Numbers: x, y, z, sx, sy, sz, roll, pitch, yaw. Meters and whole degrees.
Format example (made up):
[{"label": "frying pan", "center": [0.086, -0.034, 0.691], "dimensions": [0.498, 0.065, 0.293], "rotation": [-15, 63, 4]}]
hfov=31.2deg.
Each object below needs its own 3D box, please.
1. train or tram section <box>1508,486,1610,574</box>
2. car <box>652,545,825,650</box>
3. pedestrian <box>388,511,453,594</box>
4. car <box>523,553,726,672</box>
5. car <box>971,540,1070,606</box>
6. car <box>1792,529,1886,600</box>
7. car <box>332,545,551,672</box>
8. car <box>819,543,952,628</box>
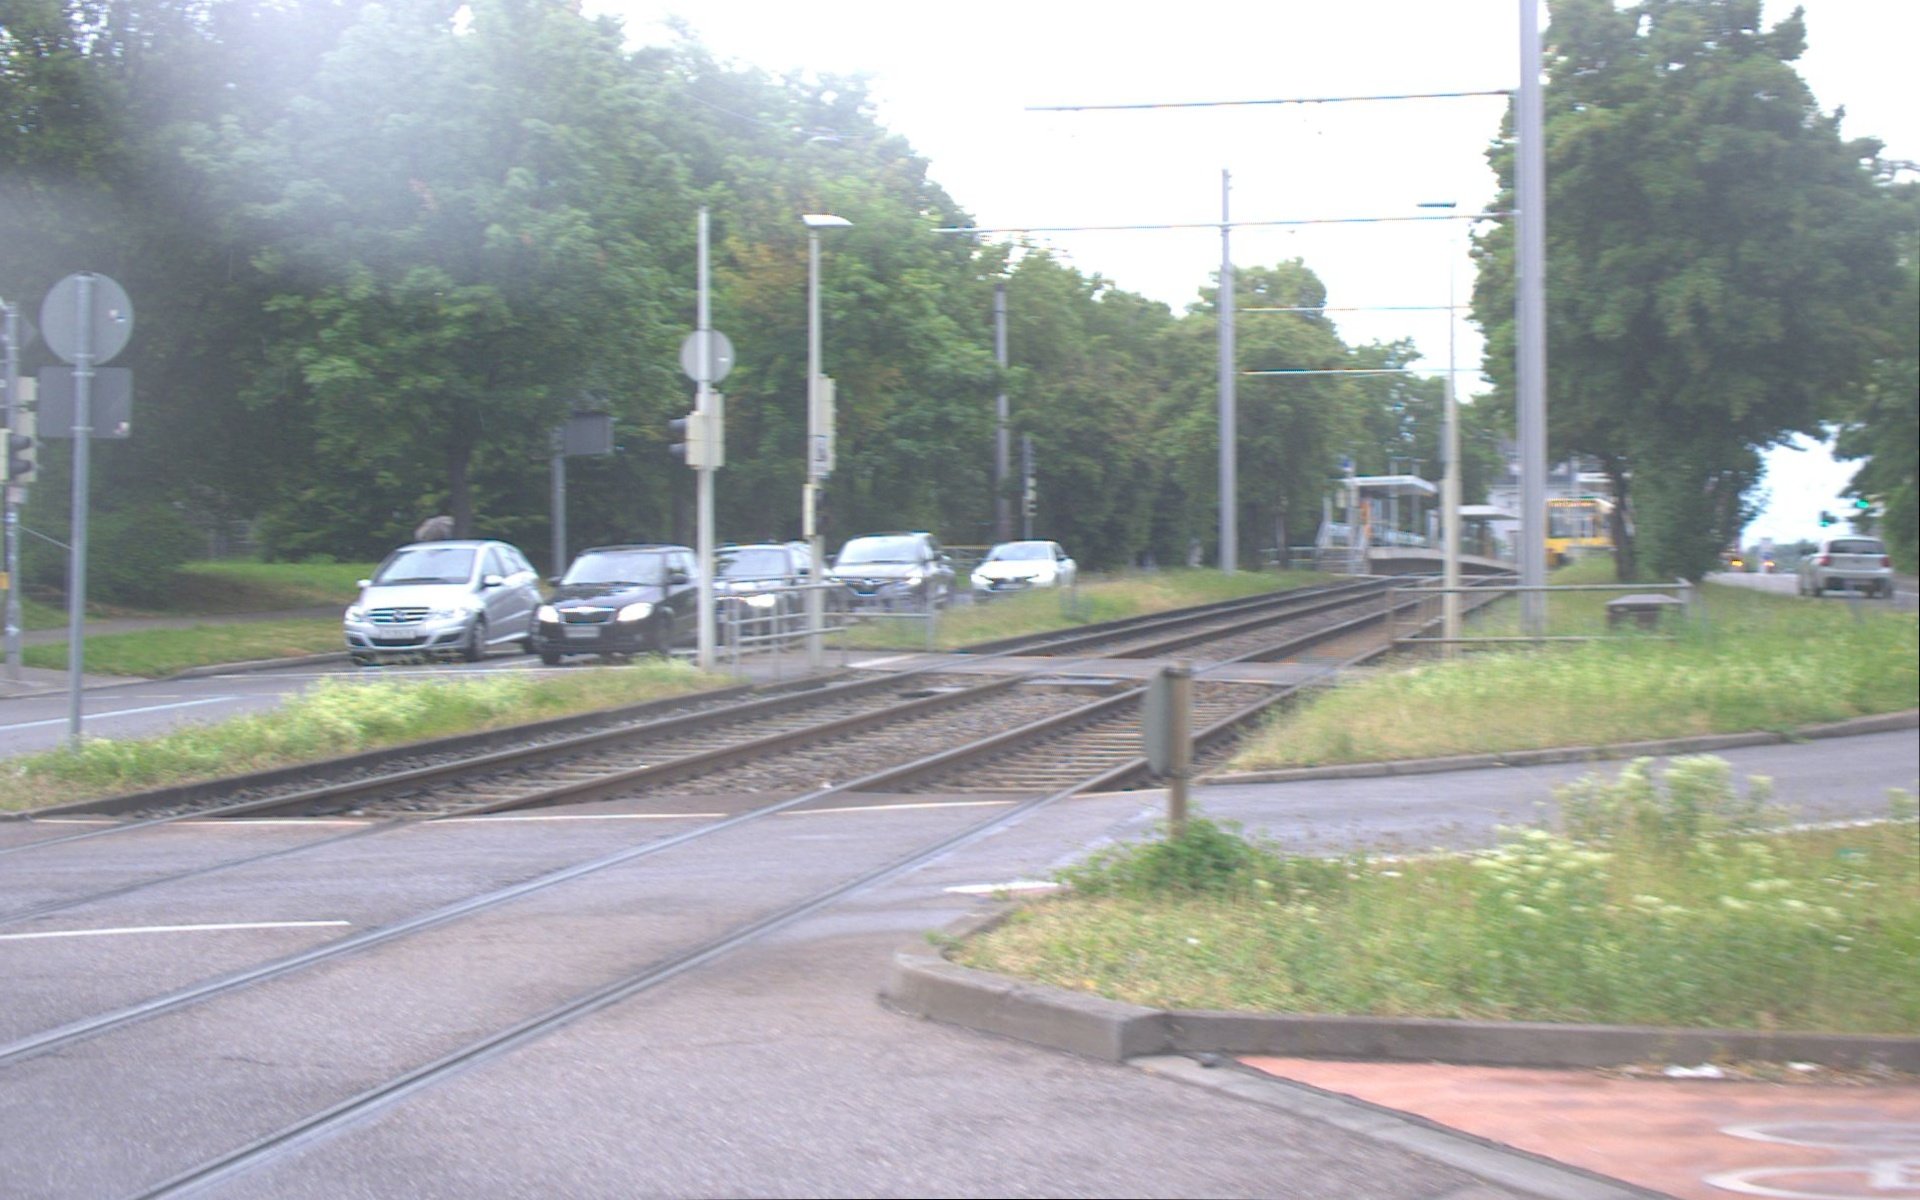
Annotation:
[{"label": "train or tram section", "center": [28.367, -3.244, 162.230], "dimensions": [4.062, 3.881, 15.032], "rotation": [1, 1, 12]}, {"label": "car", "center": [-3.193, -0.060, 50.299], "dimensions": [1.602, 1.397, 3.790], "rotation": [-2, 1, 10]}, {"label": "pedestrian", "center": [-10.408, -0.919, 66.346], "dimensions": [1.013, 1.595, 1.040], "rotation": [0, 1, 6]}, {"label": "car", "center": [-4.300, 0.133, 44.584], "dimensions": [1.602, 1.397, 3.790], "rotation": [1, 2, 11]}, {"label": "car", "center": [1.381, -0.626, 77.561], "dimensions": [1.602, 1.397, 3.790], "rotation": [-1, 1, 10]}, {"label": "car", "center": [19.870, -0.821, 77.822], "dimensions": [1.704, 1.516, 3.790], "rotation": [1, 2, 9]}, {"label": "car", "center": [-7.006, 0.084, 46.865], "dimensions": [1.720, 1.548, 3.861], "rotation": [-2, 1, 11]}, {"label": "car", "center": [-1.299, -0.286, 61.247], "dimensions": [1.602, 1.397, 3.790], "rotation": [1, 2, 11]}]
